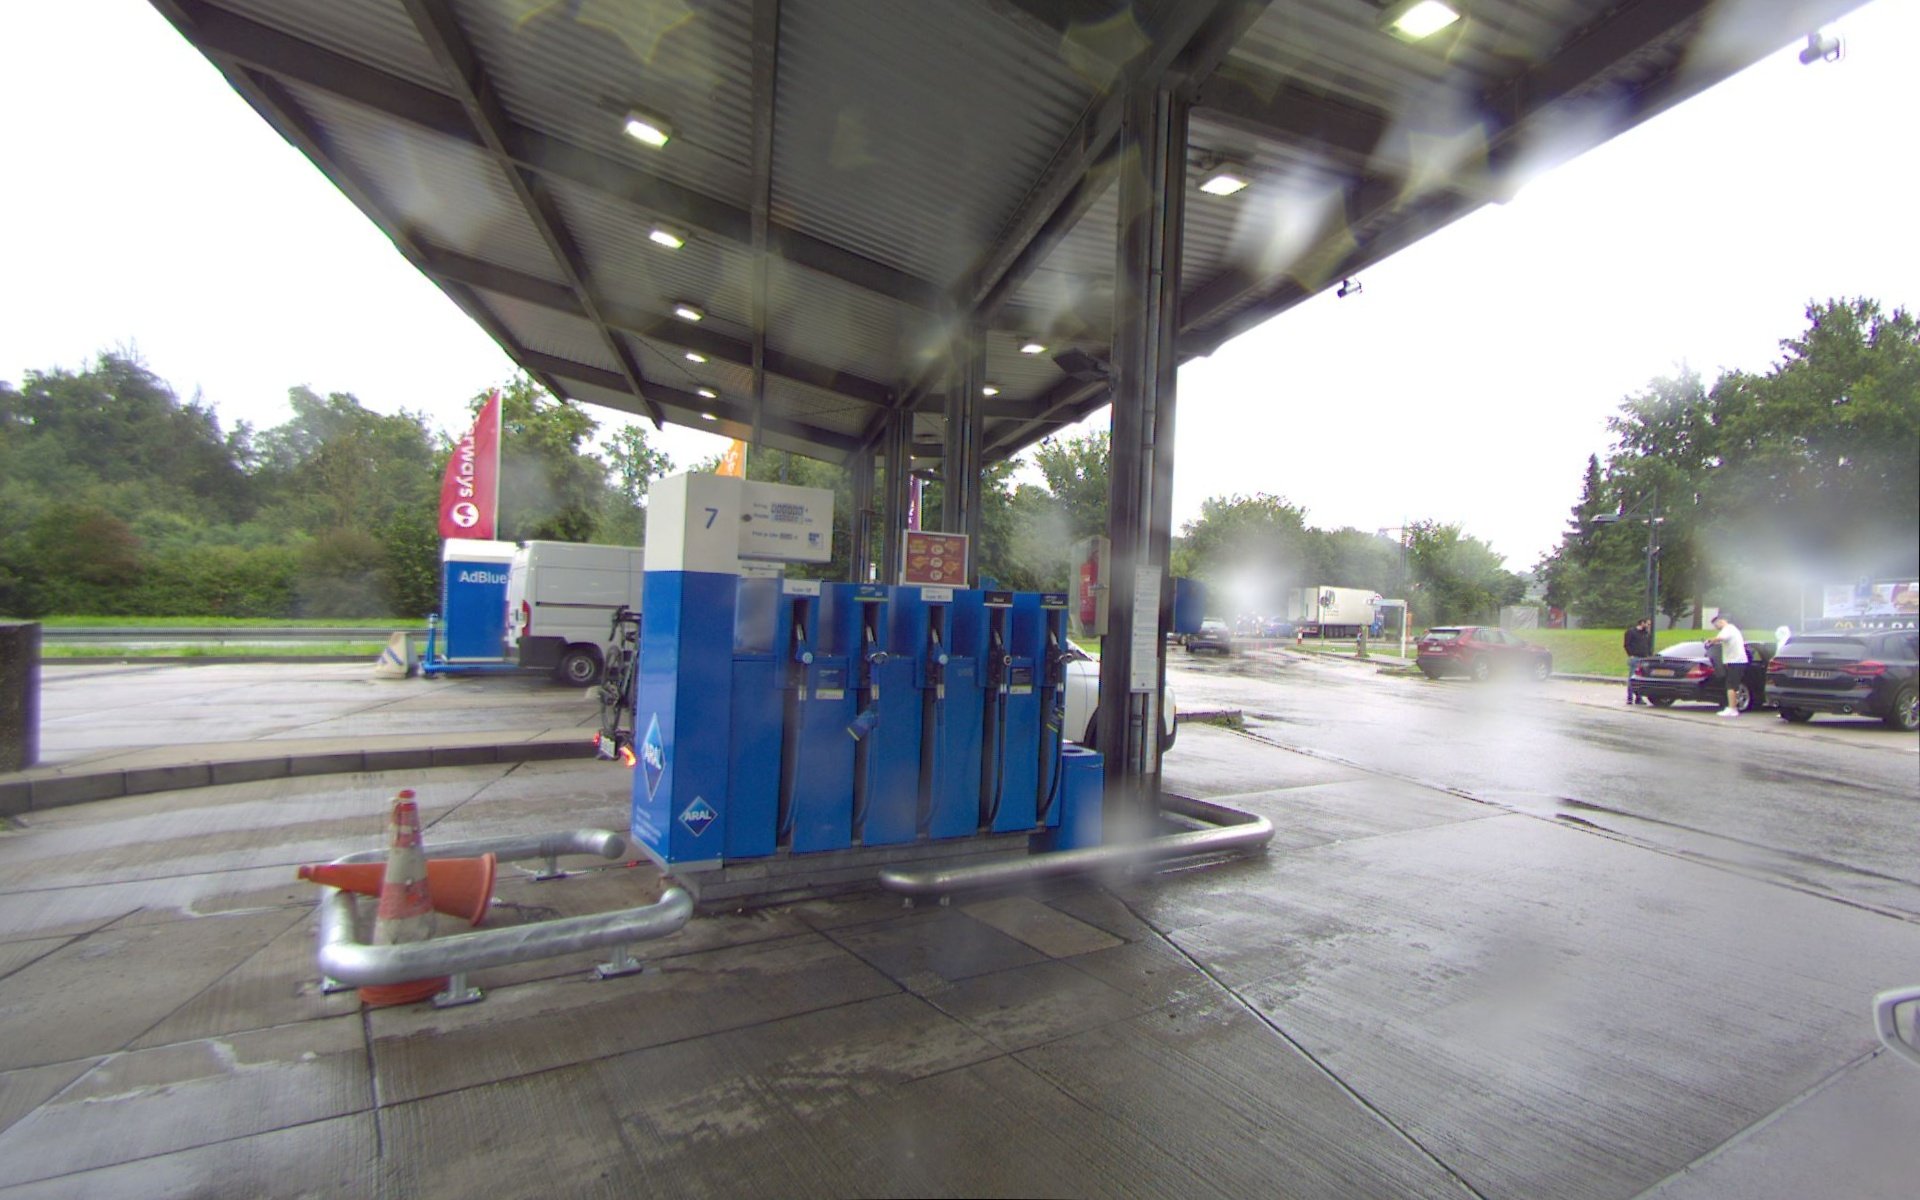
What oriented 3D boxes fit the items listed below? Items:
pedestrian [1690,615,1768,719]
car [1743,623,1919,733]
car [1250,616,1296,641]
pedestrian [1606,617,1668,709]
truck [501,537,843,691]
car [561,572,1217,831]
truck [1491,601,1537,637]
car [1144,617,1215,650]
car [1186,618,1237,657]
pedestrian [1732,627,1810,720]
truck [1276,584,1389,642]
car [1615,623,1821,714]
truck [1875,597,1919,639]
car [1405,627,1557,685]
[{"bbox_3d":[14.667,1.258,19.172,0.695,1.912,0.948,2,0,-26],"label":"pedestrian"},{"bbox_3d":[16.166,1.276,17.449,4.274,1.734,2.016,1,-1,-18],"label":"car"},{"bbox_3d":[22.894,2.070,73.418,1.787,1.704,3.934,2,0,40],"label":"car"},{"bbox_3d":[14.616,1.338,21.706,0.690,1.912,0.894,2,0,2],"label":"pedestrian"},{"bbox_3d":[-5.344,0.297,18.920,5.793,2.527,2.221,2,0,-30],"label":"truck"},{"bbox_3d":[-0.431,0.704,8.439,5.210,1.629,1.852,2,0,-30],"label":"car"},{"bbox_3d":[52.011,1.756,94.439,2.436,3.126,7.358,2,0,18],"label":"truck"},{"bbox_3d":[11.926,1.840,54.446,3.969,1.650,1.756,3,-1,-41],"label":"car"},{"bbox_3d":[11.690,1.721,46.893,1.959,1.700,4.003,2,-1,10],"label":"car"},{"bbox_3d":[15.214,1.363,18.871,0.935,1.653,0.704,2,0,21],"label":"pedestrian"},{"bbox_3d":[31.869,1.195,85.133,3.498,4.397,16.922,2,0,40],"label":"truck"},{"bbox_3d":[15.936,1.361,21.072,4.293,1.734,2.007,1,-2,-31],"label":"car"},{"bbox_3d":[68.845,1.333,71.684,5.285,2.959,2.191,2,0,-5],"label":"truck"},{"bbox_3d":[16.070,1.675,30.983,4.283,1.666,1.933,1,-2,-25],"label":"car"}]
